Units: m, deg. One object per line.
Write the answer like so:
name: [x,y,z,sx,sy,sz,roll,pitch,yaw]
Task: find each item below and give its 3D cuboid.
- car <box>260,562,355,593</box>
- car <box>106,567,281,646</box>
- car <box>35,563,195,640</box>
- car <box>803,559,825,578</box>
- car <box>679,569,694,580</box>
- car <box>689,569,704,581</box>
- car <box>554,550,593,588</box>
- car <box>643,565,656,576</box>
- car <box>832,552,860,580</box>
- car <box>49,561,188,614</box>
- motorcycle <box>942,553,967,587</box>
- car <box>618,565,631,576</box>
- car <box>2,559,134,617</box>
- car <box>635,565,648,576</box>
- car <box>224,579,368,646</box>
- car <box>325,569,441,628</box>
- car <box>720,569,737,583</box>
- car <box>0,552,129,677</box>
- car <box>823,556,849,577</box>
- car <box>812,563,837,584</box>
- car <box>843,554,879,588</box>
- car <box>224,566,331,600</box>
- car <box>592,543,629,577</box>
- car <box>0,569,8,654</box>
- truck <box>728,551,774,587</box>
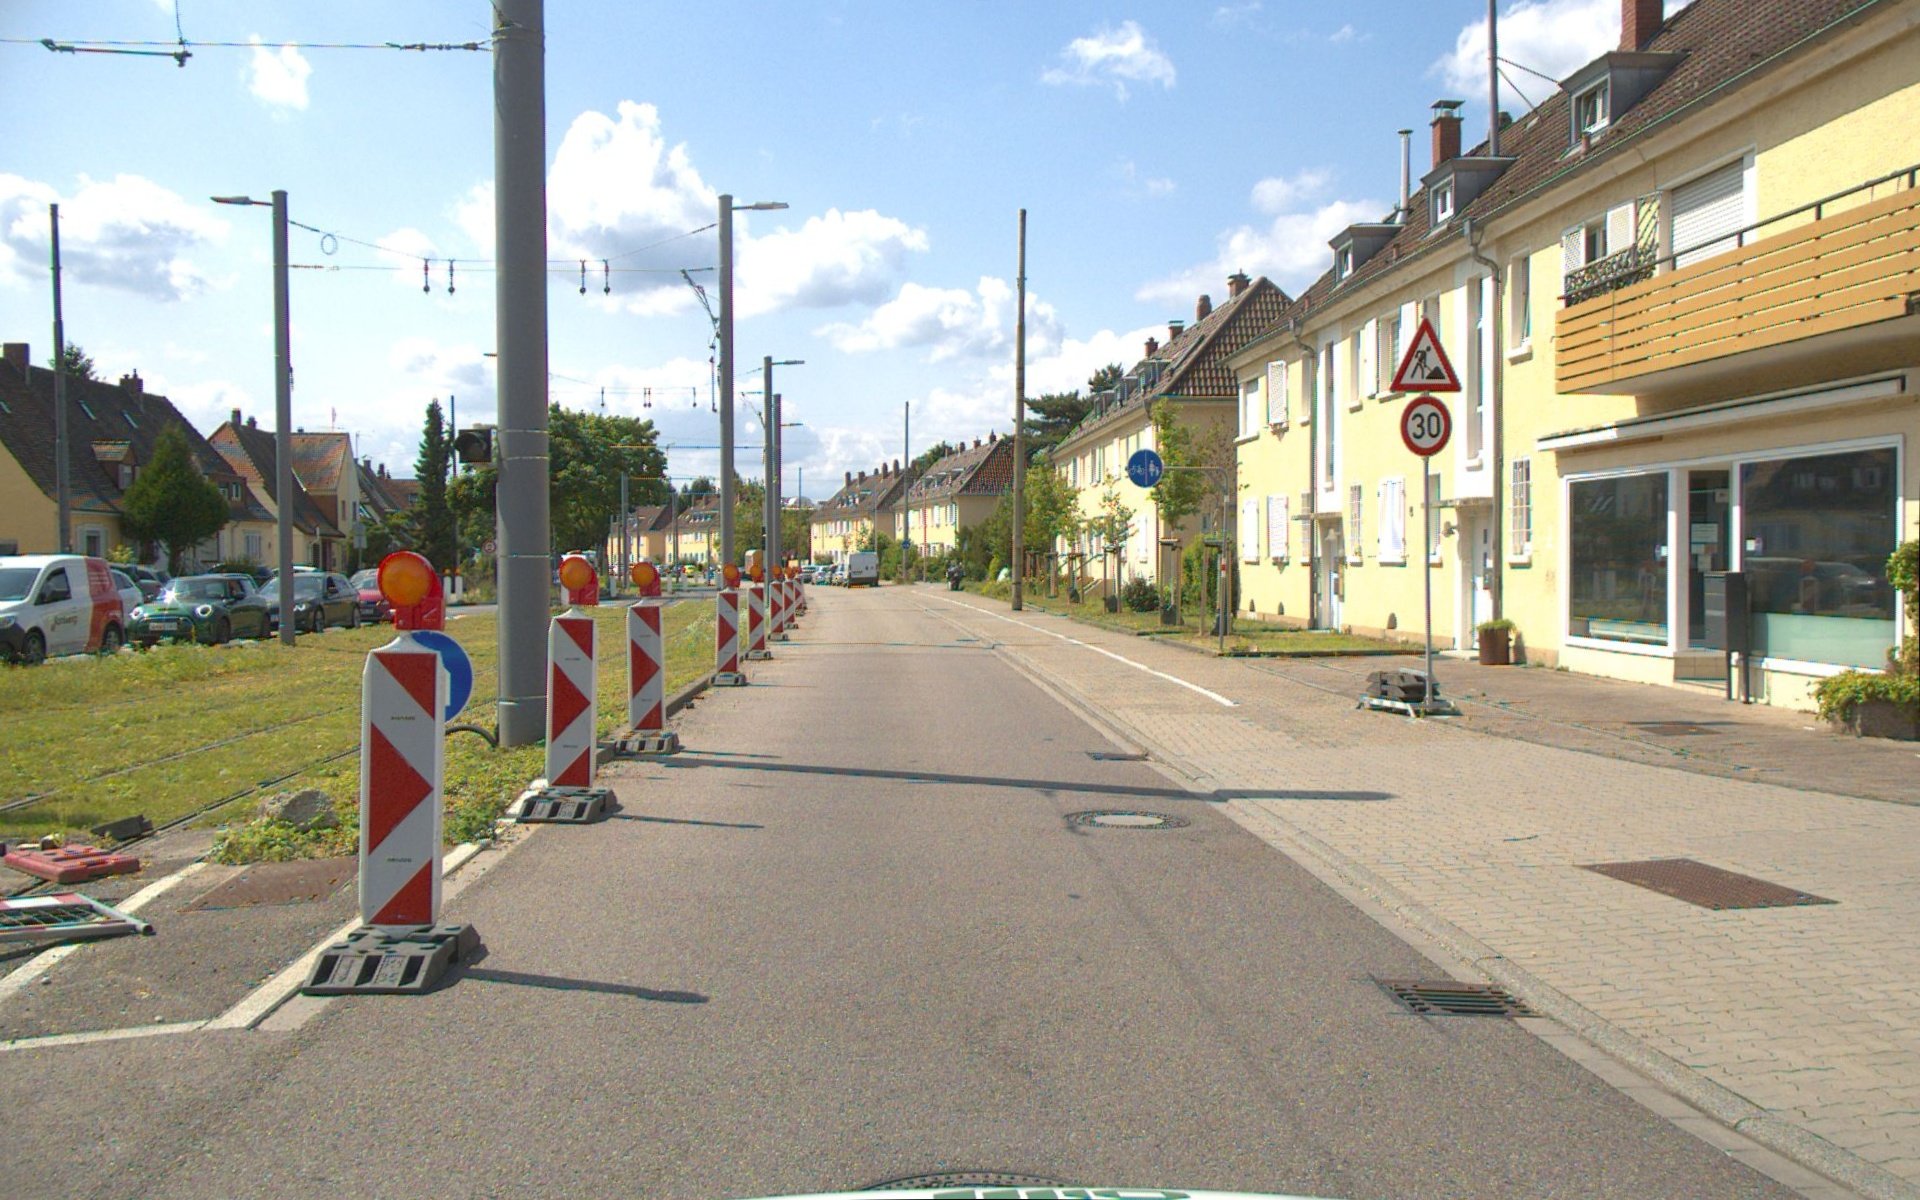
car: [-31.250,-1.072,79.312,3.909,1.422,1.703,0,2,-5]
car: [-15.182,0.086,33.001,1.877,1.443,3.996,-1,1,-5]
car: [-20.174,-0.013,39.704,1.807,1.698,4.501,-1,1,-5]
car: [-12.472,-2.731,141.394,1.539,1.578,3.470,-1,1,-11]
car: [-34.329,-3.183,207.231,1.241,1.451,2.646,-1,1,-24]
car: [-32.301,-3.043,202.666,1.240,1.451,2.648,-1,1,-22]
car: [-25.360,-2.041,108.488,2.366,2.379,4.861,-1,1,-14]
car: [-41.618,-3.906,221.772,1.151,1.451,2.644,-1,1,-25]
car: [-8.211,-2.460,118.883,1.539,1.930,3.780,-1,1,-11]
car: [-29.283,-0.431,57.648,3.877,1.517,1.602,4,0,-6]
motorcycle: [-0.279,-1.533,83.726,1.046,1.664,2.081,-1,1,-5]
car: [-47.808,-4.205,235.810,1.242,1.451,2.644,-1,1,-25]
car: [-29.059,-0.394,53.950,3.320,1.622,1.602,4,0,-6]
car: [-43.460,-4.023,225.820,1.151,1.451,2.644,-1,1,-25]
car: [-15.750,0.253,39.518,1.807,1.438,4.912,-1,1,-5]
car: [-16.090,-0.081,46.390,1.807,1.519,4.853,-1,1,-4]
car: [-25.516,-2.656,182.352,1.239,1.451,2.649,-1,1,-21]
car: [-15.000,0.180,26.259,1.699,1.813,4.400,-1,1,-5]
car: [-9.296,-2.513,124.092,1.539,1.578,3.780,-1,1,-11]
car: [-10.613,-2.100,129.569,1.539,1.578,3.780,-1,1,-11]
car: [-6.569,-1.911,109.406,2.026,2.186,4.871,-1,1,-7]
car: [-31.036,-0.782,75.289,4.027,1.492,1.990,-1,1,-5]
car: [-25.527,-2.934,120.671,2.366,2.411,4.861,-1,2,-14]
car: [-19.814,0.279,30.750,1.806,1.688,4.435,-1,1,-3]
truck: [-21.599,-3.212,170.434,2.602,3.555,9.381,-1,1,-20]
